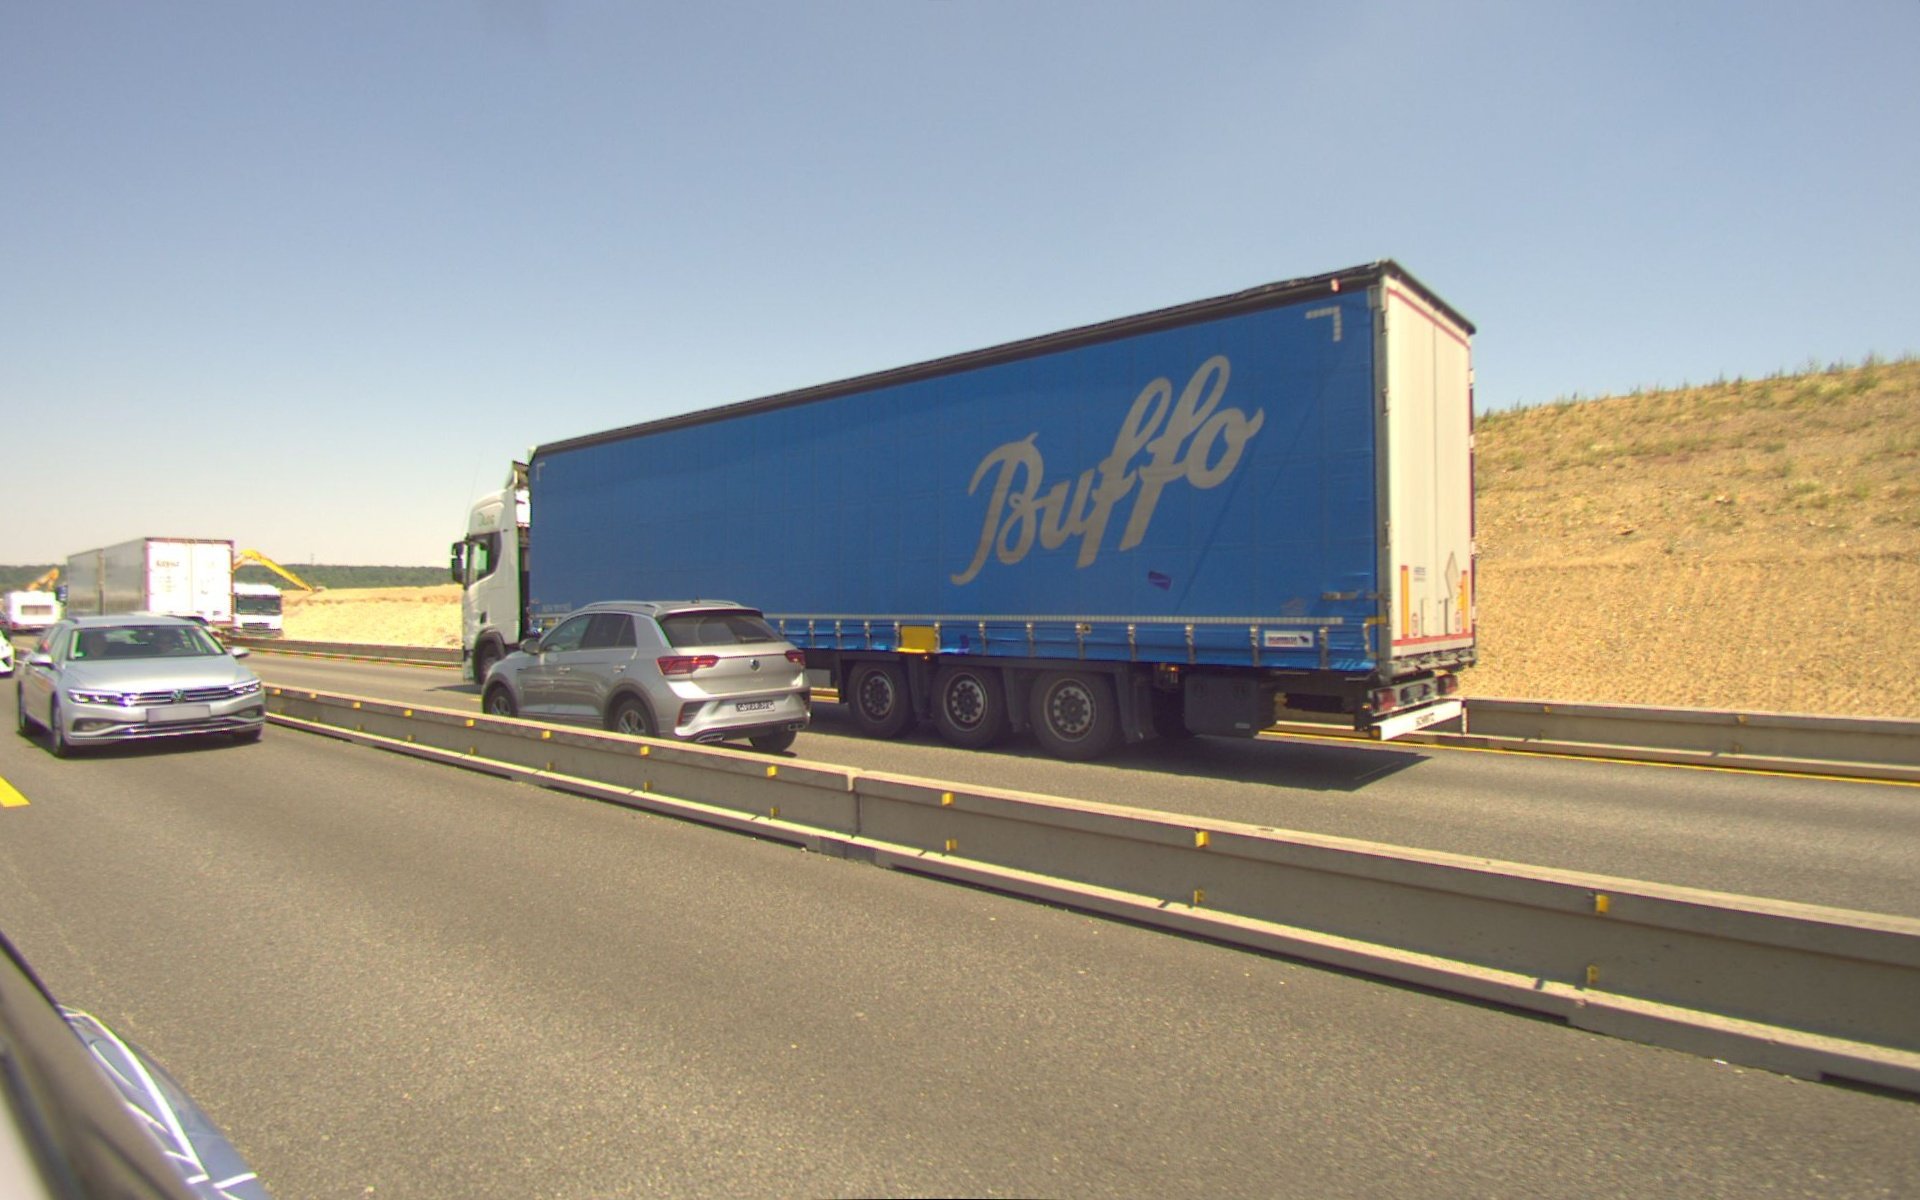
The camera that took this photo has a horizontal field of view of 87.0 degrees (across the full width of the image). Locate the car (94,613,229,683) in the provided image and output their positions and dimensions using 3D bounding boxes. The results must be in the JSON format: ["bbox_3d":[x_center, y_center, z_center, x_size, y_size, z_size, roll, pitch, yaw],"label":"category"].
[{"bbox_3d":[-19.470,1.092,24.629,4.240,1.499,1.789,0,1,40],"label":"car"}]

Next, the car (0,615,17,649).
[{"bbox_3d":[-49.149,1.619,51.163,4.591,1.625,1.671,0,1,41],"label":"car"}]

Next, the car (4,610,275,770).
[{"bbox_3d":[-9.717,0.919,11.875,4.098,1.519,1.781,-1,0,41],"label":"car"}]

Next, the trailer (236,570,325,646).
[{"bbox_3d":[-39.797,0.409,59.561,2.751,4.129,8.398,-1,0,-23],"label":"trailer"}]

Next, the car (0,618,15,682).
[{"bbox_3d":[-23.821,1.176,23.910,4.029,1.408,1.851,0,1,42],"label":"car"}]

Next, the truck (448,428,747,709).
[{"bbox_3d":[-6.319,-0.429,17.358,5.146,4.084,2.565,-1,0,40],"label":"truck"}]

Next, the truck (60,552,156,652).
[{"bbox_3d":[-38.557,0.160,45.722,5.910,4.230,2.464,-1,-2,42],"label":"truck"}]

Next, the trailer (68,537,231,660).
[{"bbox_3d":[-32.952,0.063,40.731,15.528,4.211,2.476,-1,-2,42],"label":"trailer"}]

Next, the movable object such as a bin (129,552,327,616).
[{"bbox_3d":[-83.369,-1.763,116.026,3.386,6.823,18.033,0,1,41],"label":"movable object such as a bin"}]

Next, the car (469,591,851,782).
[{"bbox_3d":[-3.192,0.772,10.358,4.136,1.567,1.757,-1,-3,40],"label":"car"}]

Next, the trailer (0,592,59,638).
[{"bbox_3d":[-57.720,0.944,62.409,6.751,2.707,2.287,-1,-2,41],"label":"trailer"}]

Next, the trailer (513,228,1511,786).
[{"bbox_3d":[-1.127,-0.588,12.816,13.989,3.968,2.625,-1,0,41],"label":"trailer"}]

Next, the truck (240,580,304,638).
[{"bbox_3d":[-37.391,0.476,54.914,2.545,2.986,5.073,-1,0,-38],"label":"truck"}]
